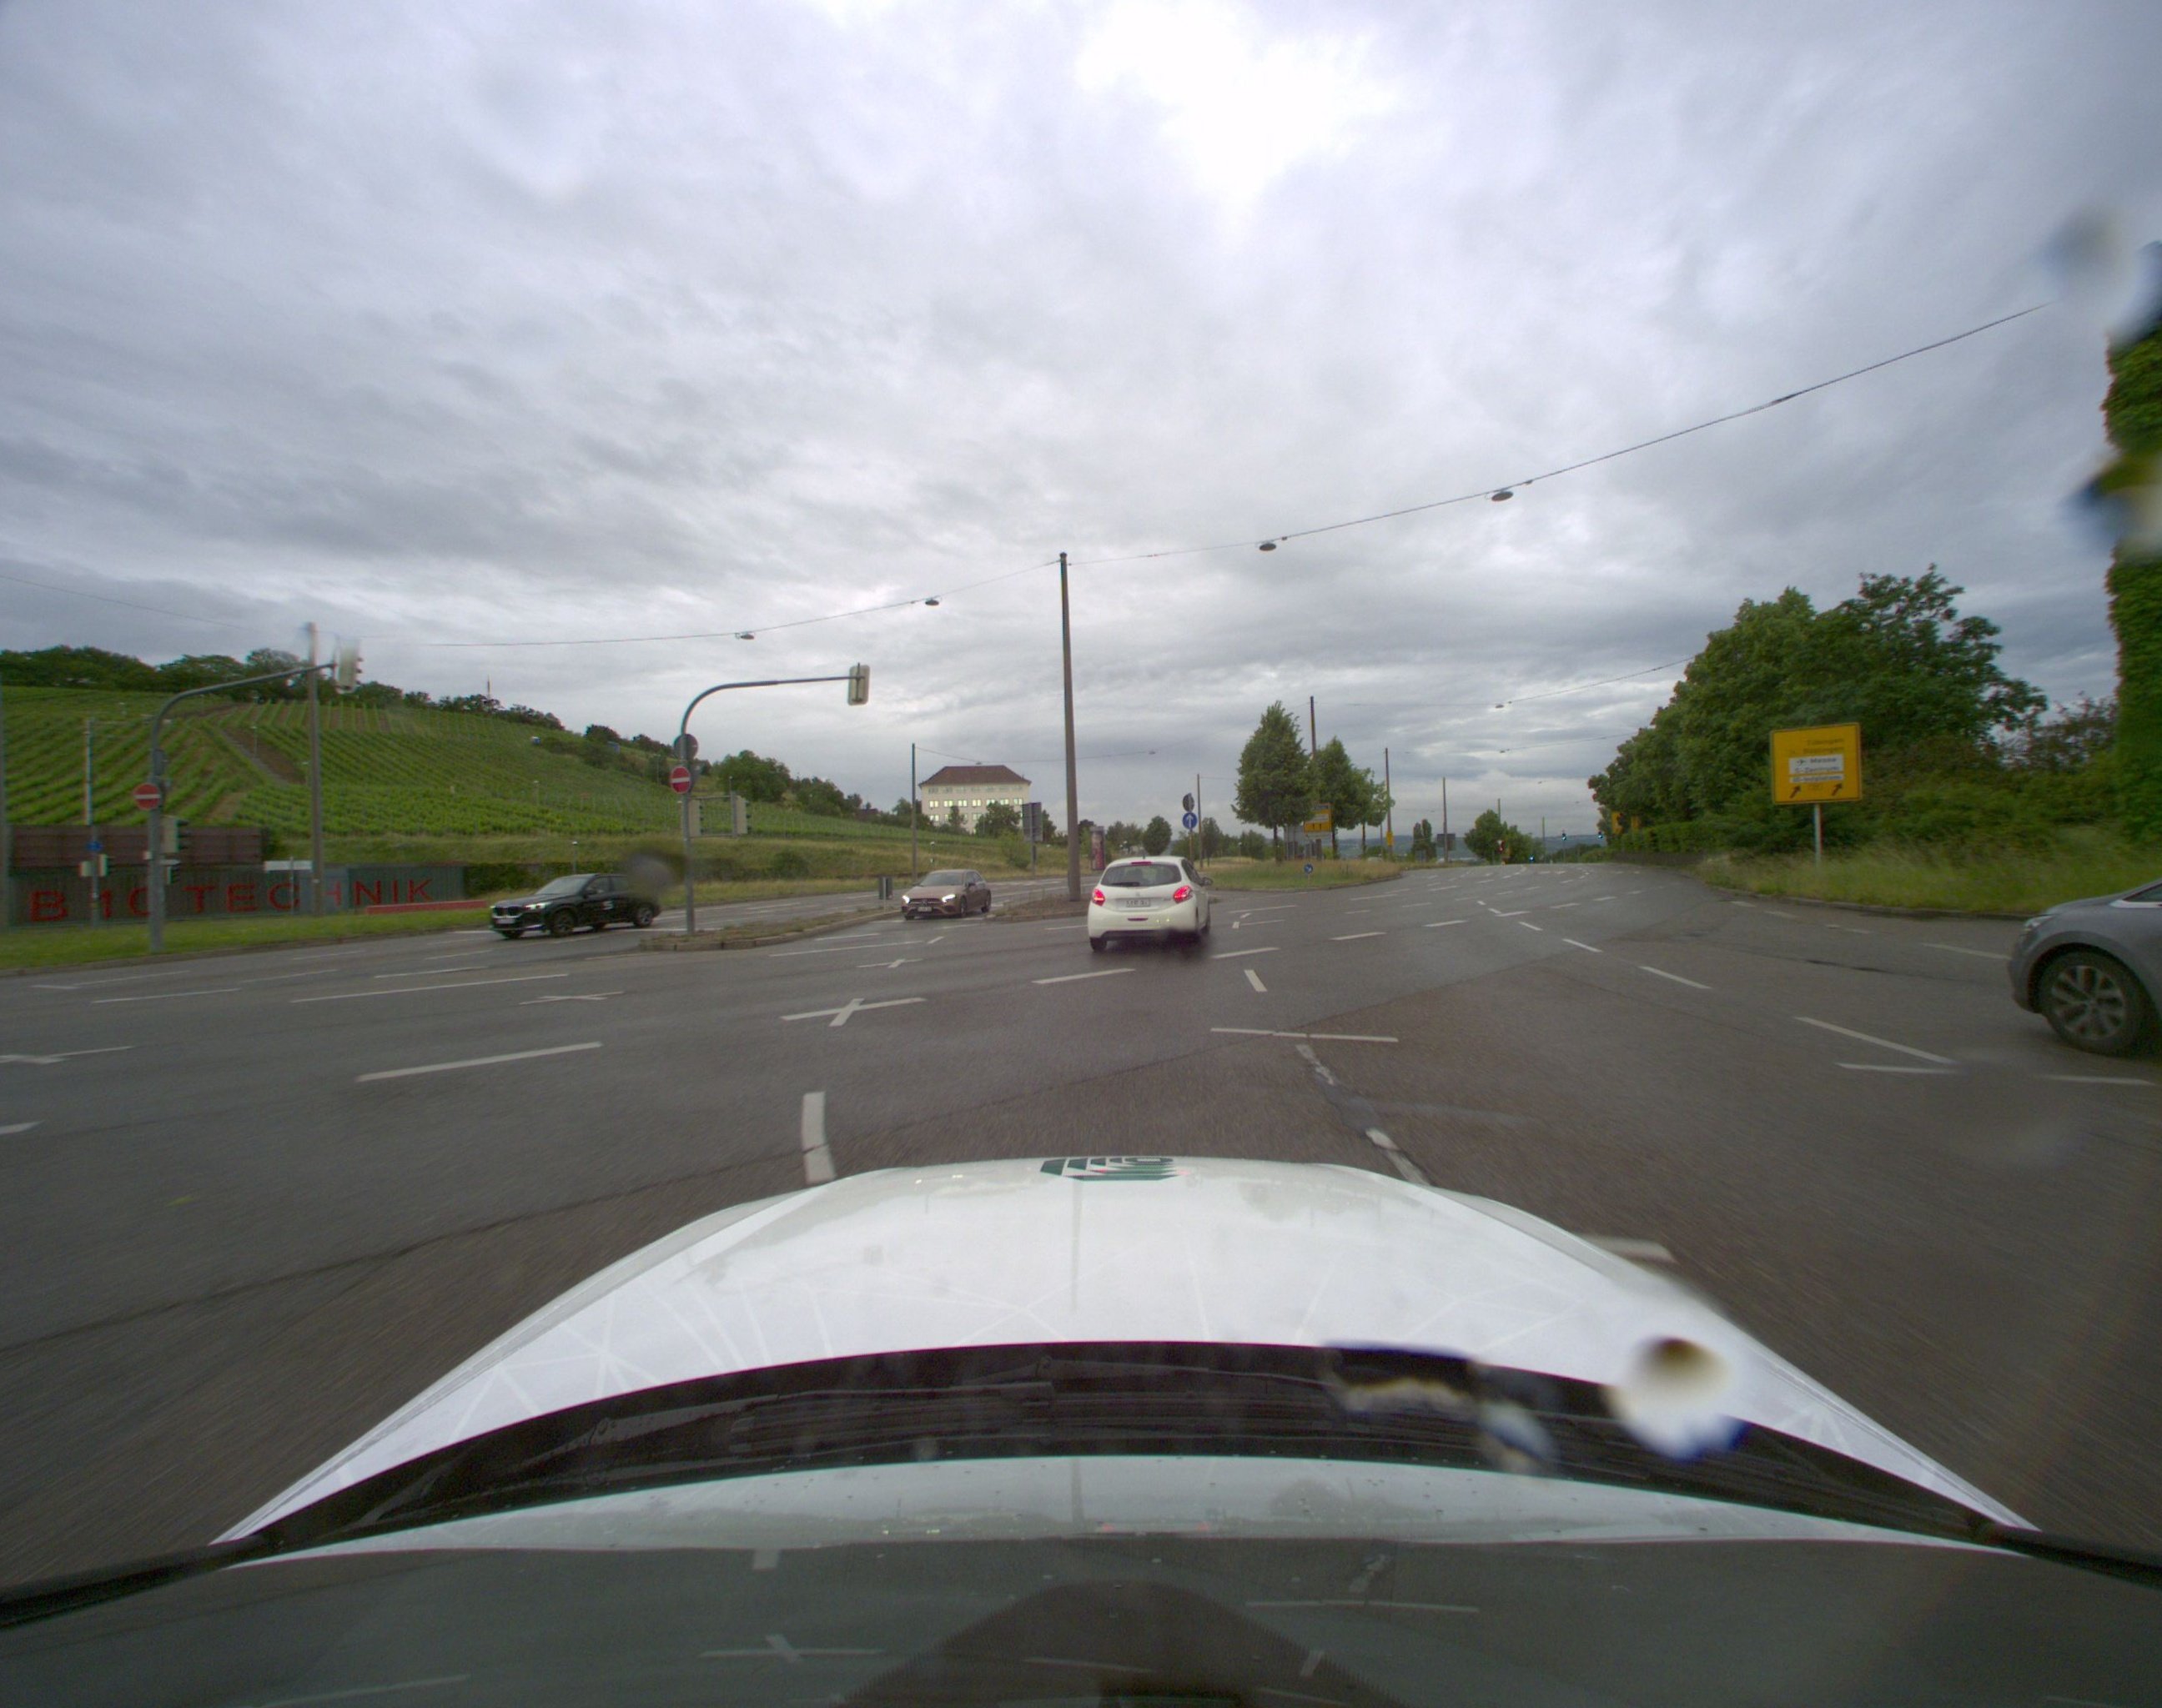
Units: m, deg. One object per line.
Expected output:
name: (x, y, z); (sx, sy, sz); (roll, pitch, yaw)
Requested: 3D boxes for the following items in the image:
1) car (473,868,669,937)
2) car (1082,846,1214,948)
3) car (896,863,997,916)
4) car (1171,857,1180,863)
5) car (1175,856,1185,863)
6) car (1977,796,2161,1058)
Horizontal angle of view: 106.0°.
car: (-13.787, 1.233, 22.389); (1.762, 1.636, 4.527); (0, 0, 16)
car: (1.294, 0.652, 13.996); (1.706, 1.489, 4.013); (-1, 0, 12)
car: (-4.061, 1.032, 25.301); (1.765, 1.425, 4.384); (-2, -1, 9)
car: (24.014, 1.418, 207.016); (1.834, 1.486, 4.001); (-2, 0, 1)
car: (24.107, 1.365, 198.608); (1.834, 1.486, 4.001); (-2, 0, 1)
car: (7.622, 0.459, 4.075); (1.853, 1.674, 4.579); (-1, 0, 11)
